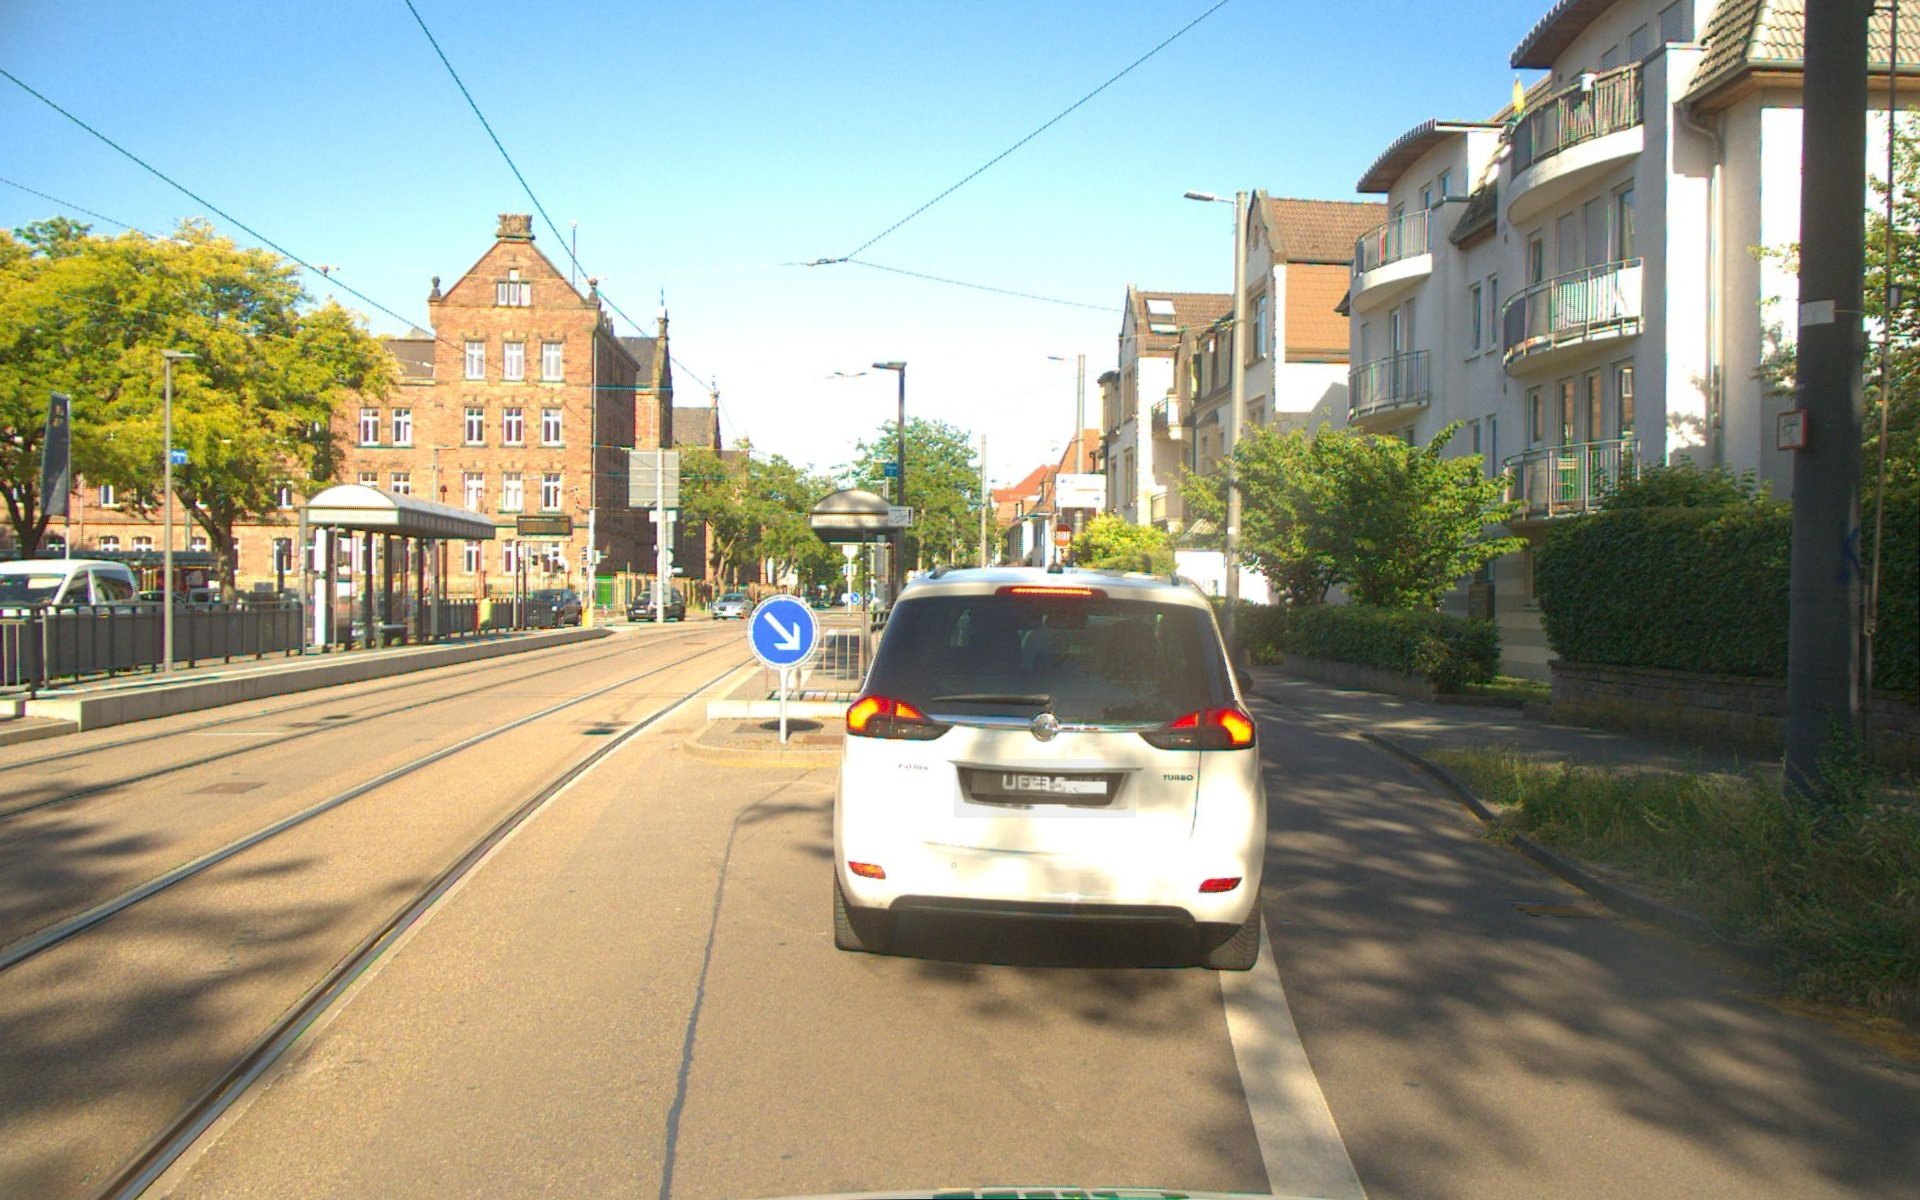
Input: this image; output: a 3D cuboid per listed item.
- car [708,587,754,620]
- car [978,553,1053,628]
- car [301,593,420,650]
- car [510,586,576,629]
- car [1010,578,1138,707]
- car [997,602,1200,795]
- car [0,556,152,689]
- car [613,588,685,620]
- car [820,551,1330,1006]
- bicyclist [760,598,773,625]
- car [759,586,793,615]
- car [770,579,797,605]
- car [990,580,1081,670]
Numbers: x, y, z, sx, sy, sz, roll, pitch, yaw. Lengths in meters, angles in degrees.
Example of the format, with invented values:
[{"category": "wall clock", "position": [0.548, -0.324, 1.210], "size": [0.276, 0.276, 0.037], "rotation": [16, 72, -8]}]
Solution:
[{"category": "car", "position": [-12.833, 0.211, 92.953], "size": [1.789, 1.819, 4.328], "rotation": [1, -1, 3]}, {"category": "car", "position": [1.310, -0.252, 40.279], "size": [1.563, 1.663, 3.901], "rotation": [2, 1, -1]}, {"category": "car", "position": [-15.942, 0.534, 44.218], "size": [1.762, 1.406, 4.492], "rotation": [0, 1, -3]}, {"category": "car", "position": [-16.443, 0.317, 65.358], "size": [1.791, 1.645, 4.323], "rotation": [1, -1, -4]}, {"category": "car", "position": [1.563, 0.545, 23.696], "size": [1.537, 1.643, 3.784], "rotation": [2, 0, 0]}, {"category": "car", "position": [1.233, 0.768, 14.785], "size": [1.536, 1.426, 3.786], "rotation": [2, 0, 5]}, {"category": "car", "position": [-13.870, 0.304, 24.832], "size": [1.792, 1.819, 4.248], "rotation": [1, 0, -7]}, {"category": "car", "position": [-14.880, 0.218, 79.356], "size": [1.788, 1.471, 4.330], "rotation": [0, -1, 14]}, {"category": "car", "position": [0.576, 0.638, 8.078], "size": [1.838, 1.613, 4.002], "rotation": [1, 0, 5]}, {"category": "bicyclist", "position": [-12.346, 0.727, 105.368], "size": [0.711, 1.717, 1.169], "rotation": [0, 1, -2]}, {"category": "car", "position": [-13.540, 0.029, 121.805], "size": [1.952, 2.049, 4.000], "rotation": [1, 0, 0]}, {"category": "car", "position": [-14.375, -0.632, 135.045], "size": [1.954, 2.049, 3.997], "rotation": [1, 0, -4]}, {"category": "car", "position": [1.485, 0.473, 33.752], "size": [1.563, 1.663, 3.900], "rotation": [2, 0, -1]}]
